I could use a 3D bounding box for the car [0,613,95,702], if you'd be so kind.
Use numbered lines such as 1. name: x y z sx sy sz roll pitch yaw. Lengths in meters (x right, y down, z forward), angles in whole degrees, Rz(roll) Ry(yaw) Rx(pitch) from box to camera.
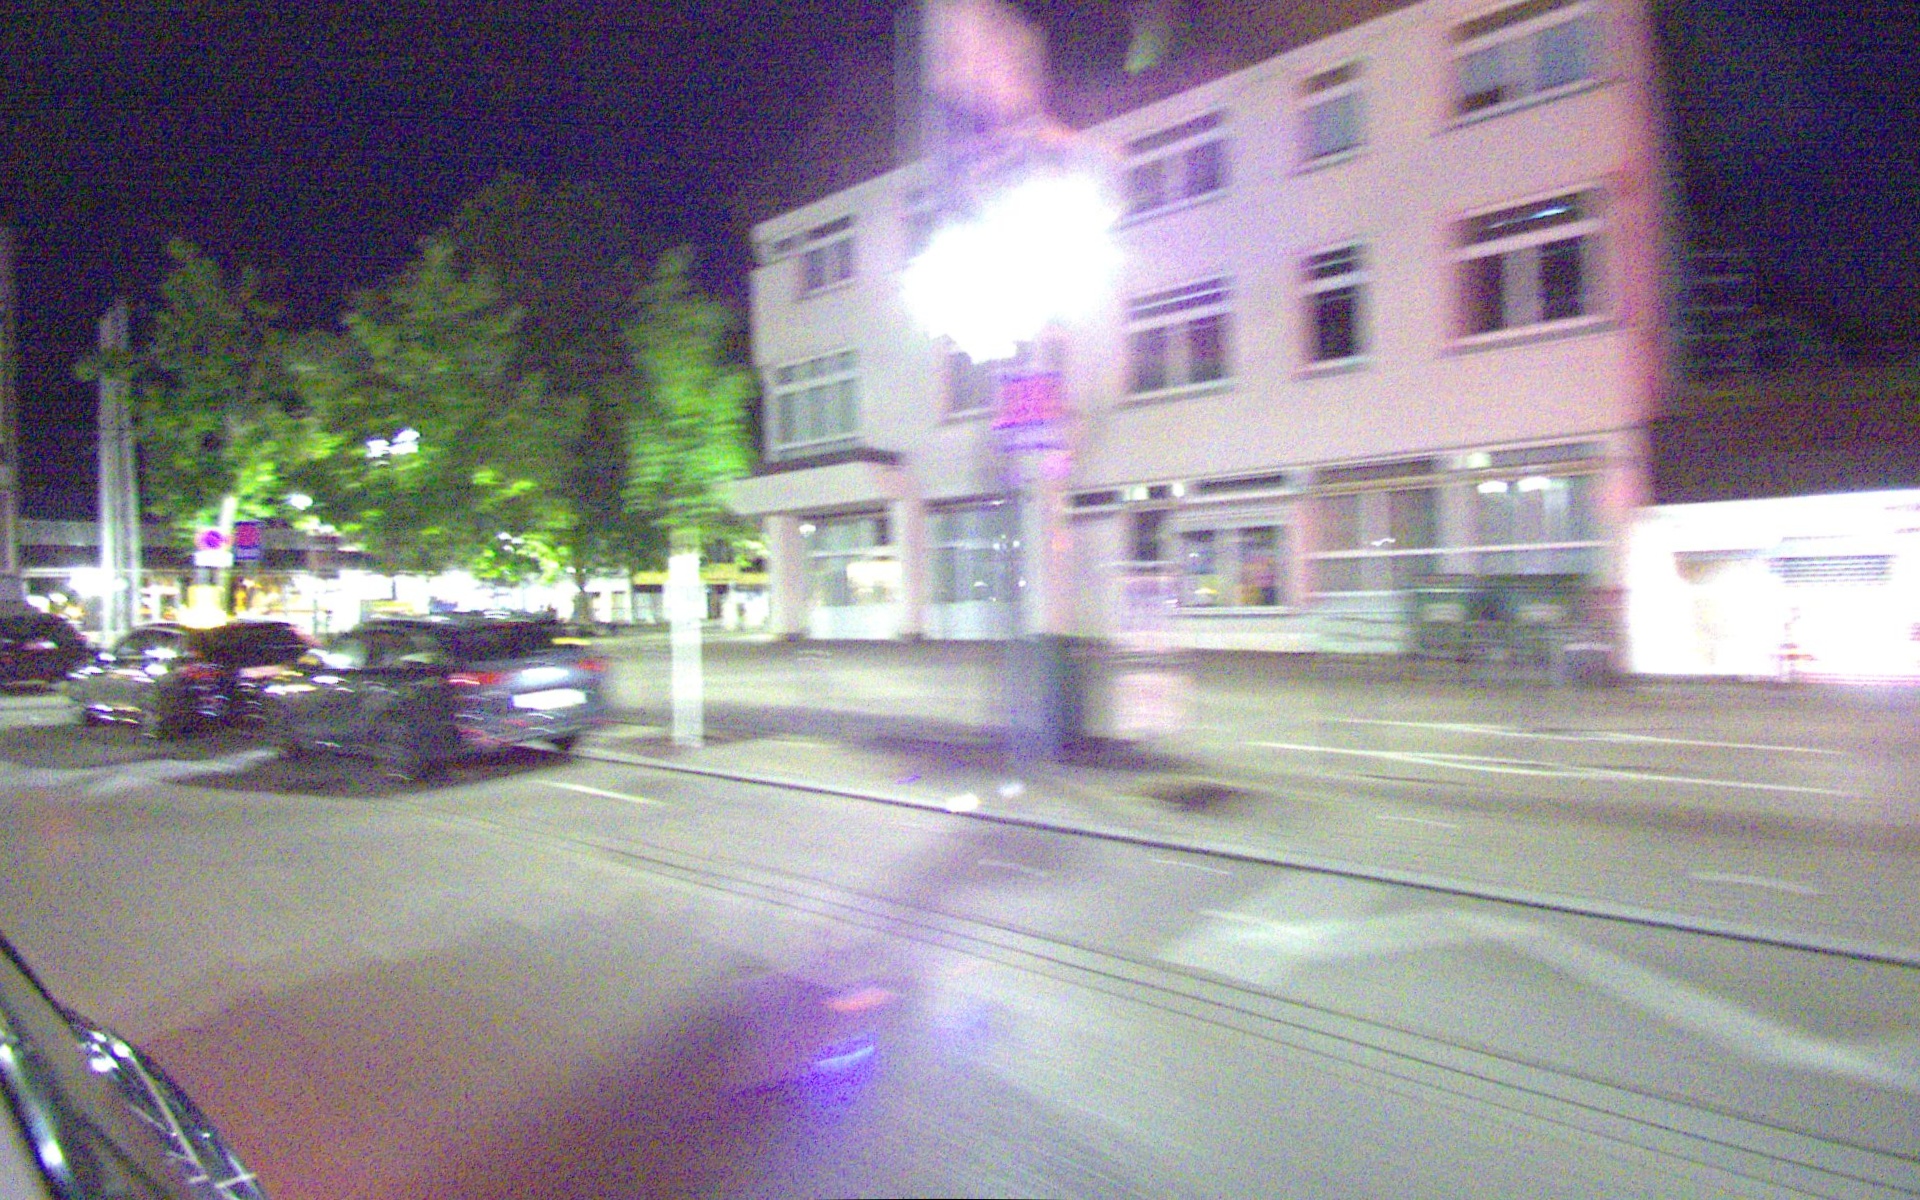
1. car: -19.050 1.096 20.281 4.477 1.586 1.754 -1 1 38

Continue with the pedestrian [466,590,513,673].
1. pedestrian: -10.745 0.695 23.118 0.781 1.831 1.026 -2 1 -33

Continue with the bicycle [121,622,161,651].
1. bicycle: -38.035 1.681 46.981 2.461 1.264 0.851 0 0 36

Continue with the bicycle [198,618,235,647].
1. bicycle: -36.299 1.580 49.414 2.408 1.374 0.756 0 0 36

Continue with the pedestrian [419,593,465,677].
1. pedestrian: -11.775 0.780 23.003 0.866 1.845 0.793 -2 1 -27

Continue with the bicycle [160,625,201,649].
1. bicycle: -37.142 1.745 48.211 2.478 1.095 0.851 0 0 36

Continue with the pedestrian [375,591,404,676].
1. pedestrian: -12.536 0.726 22.244 0.494 1.835 0.505 0 0 -22

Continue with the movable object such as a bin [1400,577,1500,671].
1. movable object such as a bin: 8.045 0.366 16.602 1.284 1.455 1.026 0 1 38

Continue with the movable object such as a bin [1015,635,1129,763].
1. movable object such as a bin: 1.034 0.881 9.328 0.791 1.073 0.740 0 0 37

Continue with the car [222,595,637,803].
1. car: -5.472 0.829 10.153 4.805 1.650 1.743 -1 -1 36

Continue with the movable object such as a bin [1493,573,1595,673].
1. movable object such as a bin: 9.077 0.324 15.724 1.226 1.468 1.120 0 1 38

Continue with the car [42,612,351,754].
1. car: -10.348 0.991 13.602 4.770 1.553 1.889 -1 0 35
